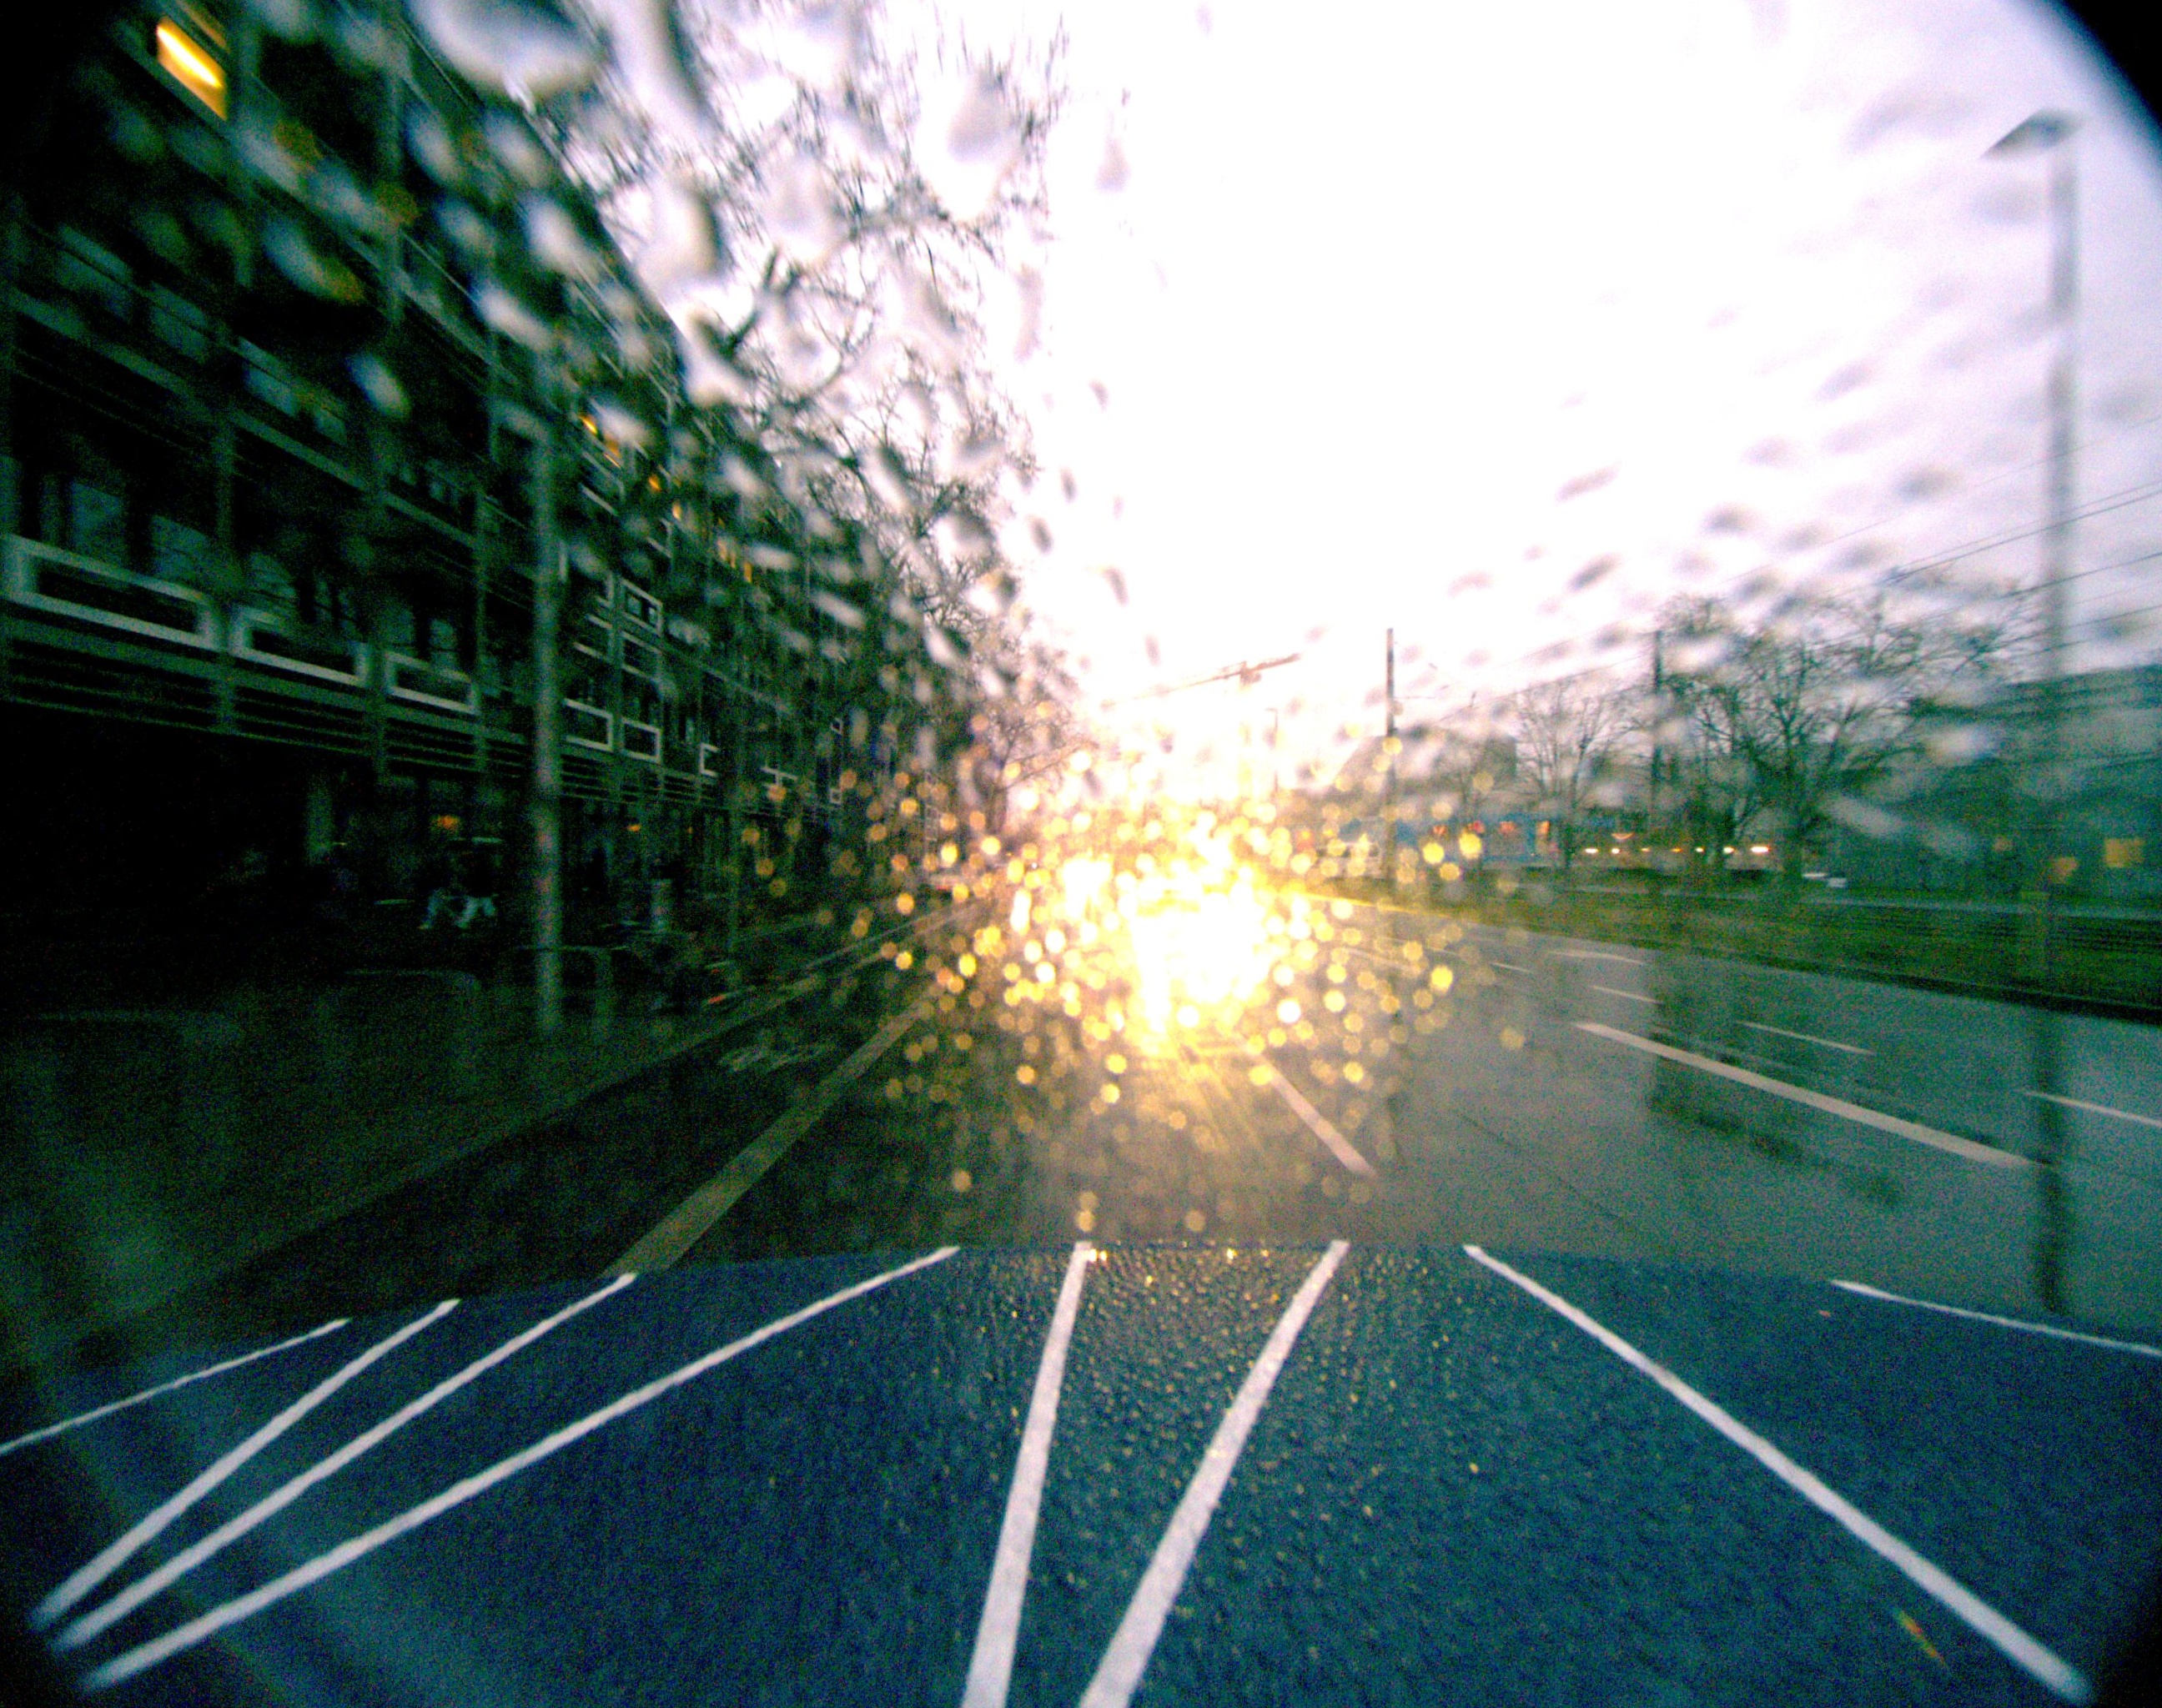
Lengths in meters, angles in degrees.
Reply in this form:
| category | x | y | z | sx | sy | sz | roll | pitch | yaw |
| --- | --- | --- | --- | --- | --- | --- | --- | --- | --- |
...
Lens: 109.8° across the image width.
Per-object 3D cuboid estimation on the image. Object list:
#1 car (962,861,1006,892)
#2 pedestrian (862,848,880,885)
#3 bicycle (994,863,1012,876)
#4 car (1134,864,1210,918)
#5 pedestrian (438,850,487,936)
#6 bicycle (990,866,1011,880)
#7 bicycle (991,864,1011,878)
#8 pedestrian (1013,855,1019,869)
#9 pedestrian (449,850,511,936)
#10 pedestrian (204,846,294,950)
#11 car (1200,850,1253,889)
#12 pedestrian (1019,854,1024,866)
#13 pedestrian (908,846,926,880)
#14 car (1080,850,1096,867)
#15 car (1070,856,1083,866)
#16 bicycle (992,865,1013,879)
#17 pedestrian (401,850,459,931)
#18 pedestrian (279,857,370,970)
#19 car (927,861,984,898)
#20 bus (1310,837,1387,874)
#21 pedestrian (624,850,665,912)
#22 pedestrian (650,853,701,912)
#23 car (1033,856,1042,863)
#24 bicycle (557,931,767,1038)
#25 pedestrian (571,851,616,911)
| category | x | y | z | sx | sy | sz | roll | pitch | yaw |
| --- | --- | --- | --- | --- | --- | --- | --- | --- | --- |
| car | -5.078 | 1.155 | 40.243 | 1.764 | 1.539 | 4.019 | 0 | 0 | 1 |
| pedestrian | -11.577 | 0.668 | 41.903 | 0.822 | 2.002 | 0.736 | 0 | 0 | -1 |
| bicycle | -6.461 | 1.304 | 62.985 | 1.523 | 1.030 | 0.469 | -2 | 1 | -6 |
| car | 2.714 | 1.069 | 23.460 | 1.778 | 1.466 | 4.129 | -1 | 0 | -1 |
| pedestrian | -12.323 | 0.760 | 15.152 | 0.379 | 1.658 | 0.713 | 0 | 1 | 2 |
| bicycle | -6.016 | 1.423 | 56.987 | 1.523 | 1.030 | 0.469 | -2 | 1 | -6 |
| bicycle | -6.310 | 1.355 | 59.931 | 1.523 | 1.030 | 0.469 | -2 | 1 | -6 |
| pedestrian | -9.811 | 1.233 | 114.890 | 0.838 | 2.002 | 0.771 | -1 | 1 | 1 |
| pedestrian | -11.856 | 0.749 | 15.003 | 0.501 | 1.658 | 0.873 | 0 | 0 | 2 |
| pedestrian | -13.688 | 0.704 | 12.523 | 0.617 | 1.646 | 0.780 | 0 | 0 | 2 |
| car | 6.923 | 0.690 | 36.515 | 1.707 | 1.733 | 4.612 | 0 | 0 | 1 |
| pedestrian | -10.693 | 1.078 | 136.282 | 0.838 | 2.002 | 0.771 | -1 | 1 | 1 |
| pedestrian | -9.843 | 0.537 | 45.643 | 0.791 | 2.002 | 1.024 | 0 | 0 | 1 |
| car | 0.836 | 0.589 | 94.199 | 1.858 | 2.001 | 4.001 | 0 | -1 | 2 |
| car | -0.713 | 1.221 | 124.228 | 1.858 | 1.591 | 4.001 | 0 | -1 | 2 |
| bicycle | -6.036 | 1.387 | 58.502 | 1.523 | 1.030 | 0.469 | -2 | 1 | -6 |
| pedestrian | -12.852 | 0.707 | 15.020 | 0.484 | 1.555 | 0.745 | 0 | 0 | 0 |
| pedestrian | -10.585 | 0.804 | 10.649 | 0.649 | 1.535 | 0.615 | 0 | 0 | 2 |
| car | -5.483 | 1.064 | 33.660 | 1.607 | 1.424 | 3.931 | 3 | 0 | 3 |
| bus | 27.731 | 0.132 | 79.669 | 2.815 | 3.556 | 12.301 | 0 | 0 | -5 |
| pedestrian | -12.165 | 0.732 | 21.195 | 0.660 | 1.708 | 0.842 | 0 | 0 | -3 |
| pedestrian | -10.579 | 0.734 | 19.844 | 0.866 | 1.515 | 0.838 | 0 | 0 | 2 |
| car | -11.626 | 1.469 | 204.407 | 2.000 | 2.002 | 3.997 | -2 | 1 | -8 |
| bicycle | -4.284 | 1.329 | 7.855 | 1.792 | 0.968 | 0.617 | 1 | 0 | -3 |
| pedestrian | -13.488 | 0.729 | 21.025 | 0.640 | 1.645 | 0.844 | 0 | 0 | 25 |
